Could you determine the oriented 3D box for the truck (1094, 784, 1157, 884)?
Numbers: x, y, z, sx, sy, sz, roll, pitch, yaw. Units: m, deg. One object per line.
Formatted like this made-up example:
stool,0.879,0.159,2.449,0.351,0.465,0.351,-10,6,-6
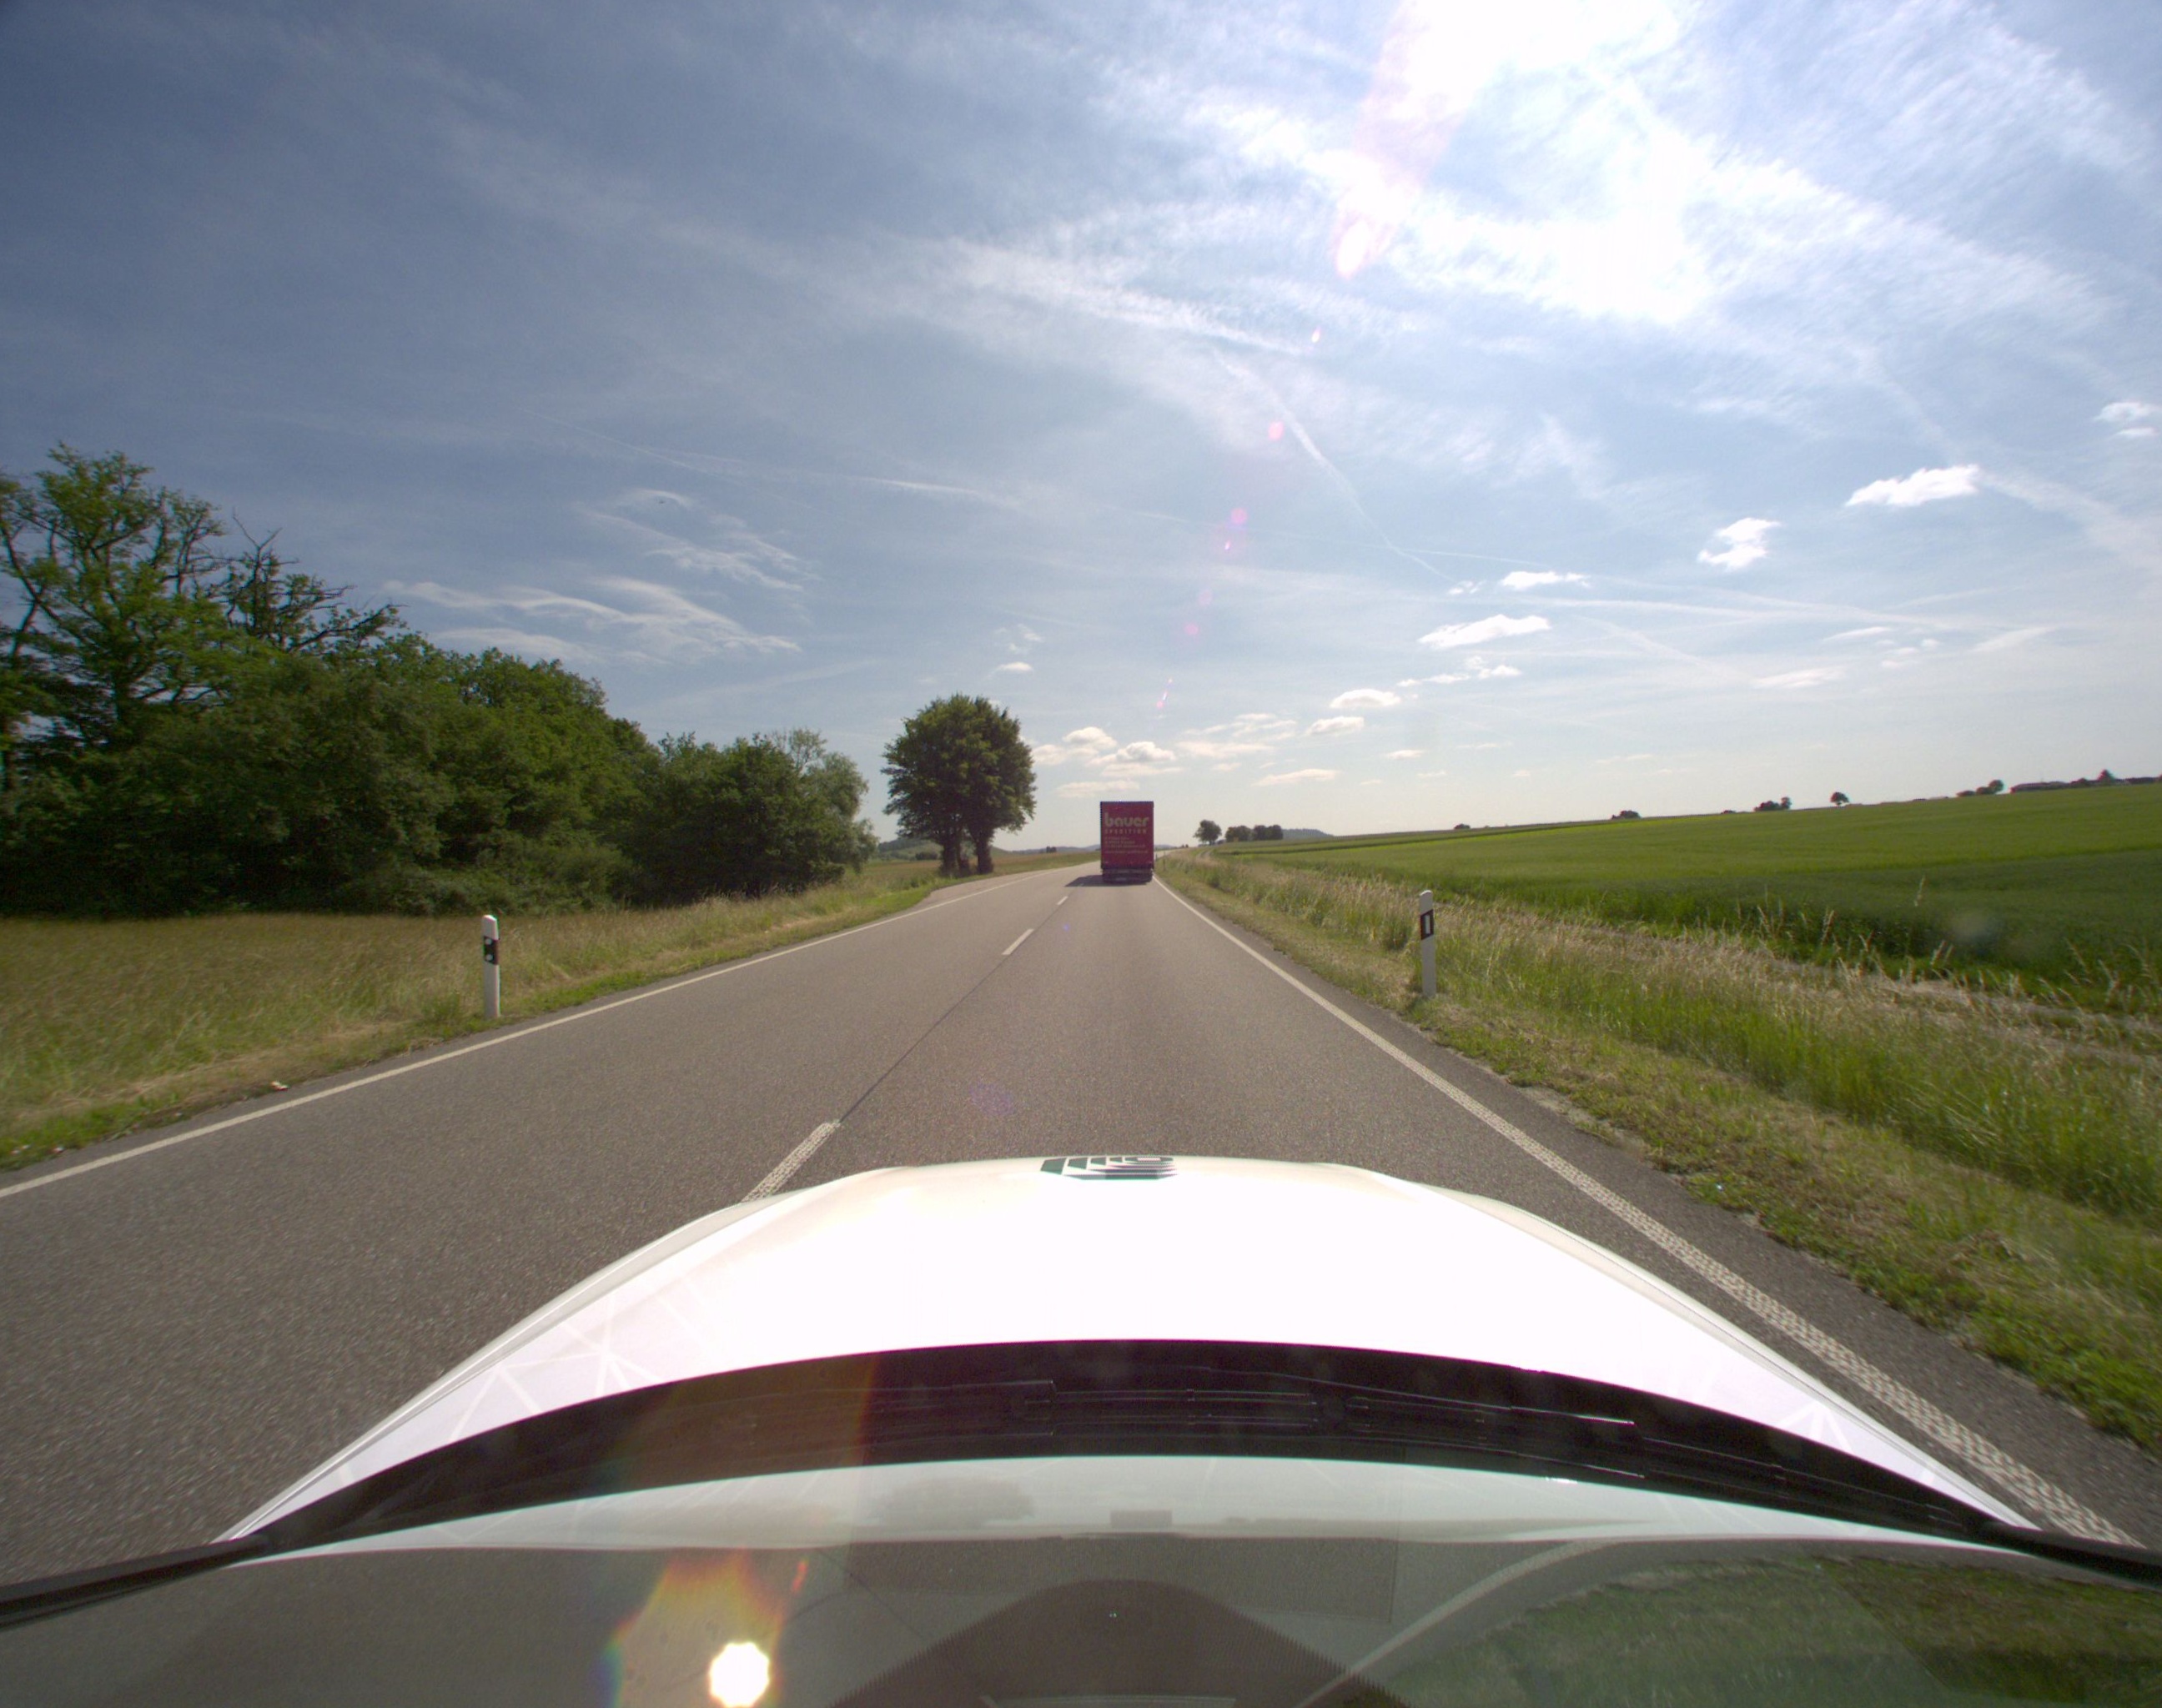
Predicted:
truck,2.177,-0.917,42.927,2.965,4.713,9.367,0,0,1
